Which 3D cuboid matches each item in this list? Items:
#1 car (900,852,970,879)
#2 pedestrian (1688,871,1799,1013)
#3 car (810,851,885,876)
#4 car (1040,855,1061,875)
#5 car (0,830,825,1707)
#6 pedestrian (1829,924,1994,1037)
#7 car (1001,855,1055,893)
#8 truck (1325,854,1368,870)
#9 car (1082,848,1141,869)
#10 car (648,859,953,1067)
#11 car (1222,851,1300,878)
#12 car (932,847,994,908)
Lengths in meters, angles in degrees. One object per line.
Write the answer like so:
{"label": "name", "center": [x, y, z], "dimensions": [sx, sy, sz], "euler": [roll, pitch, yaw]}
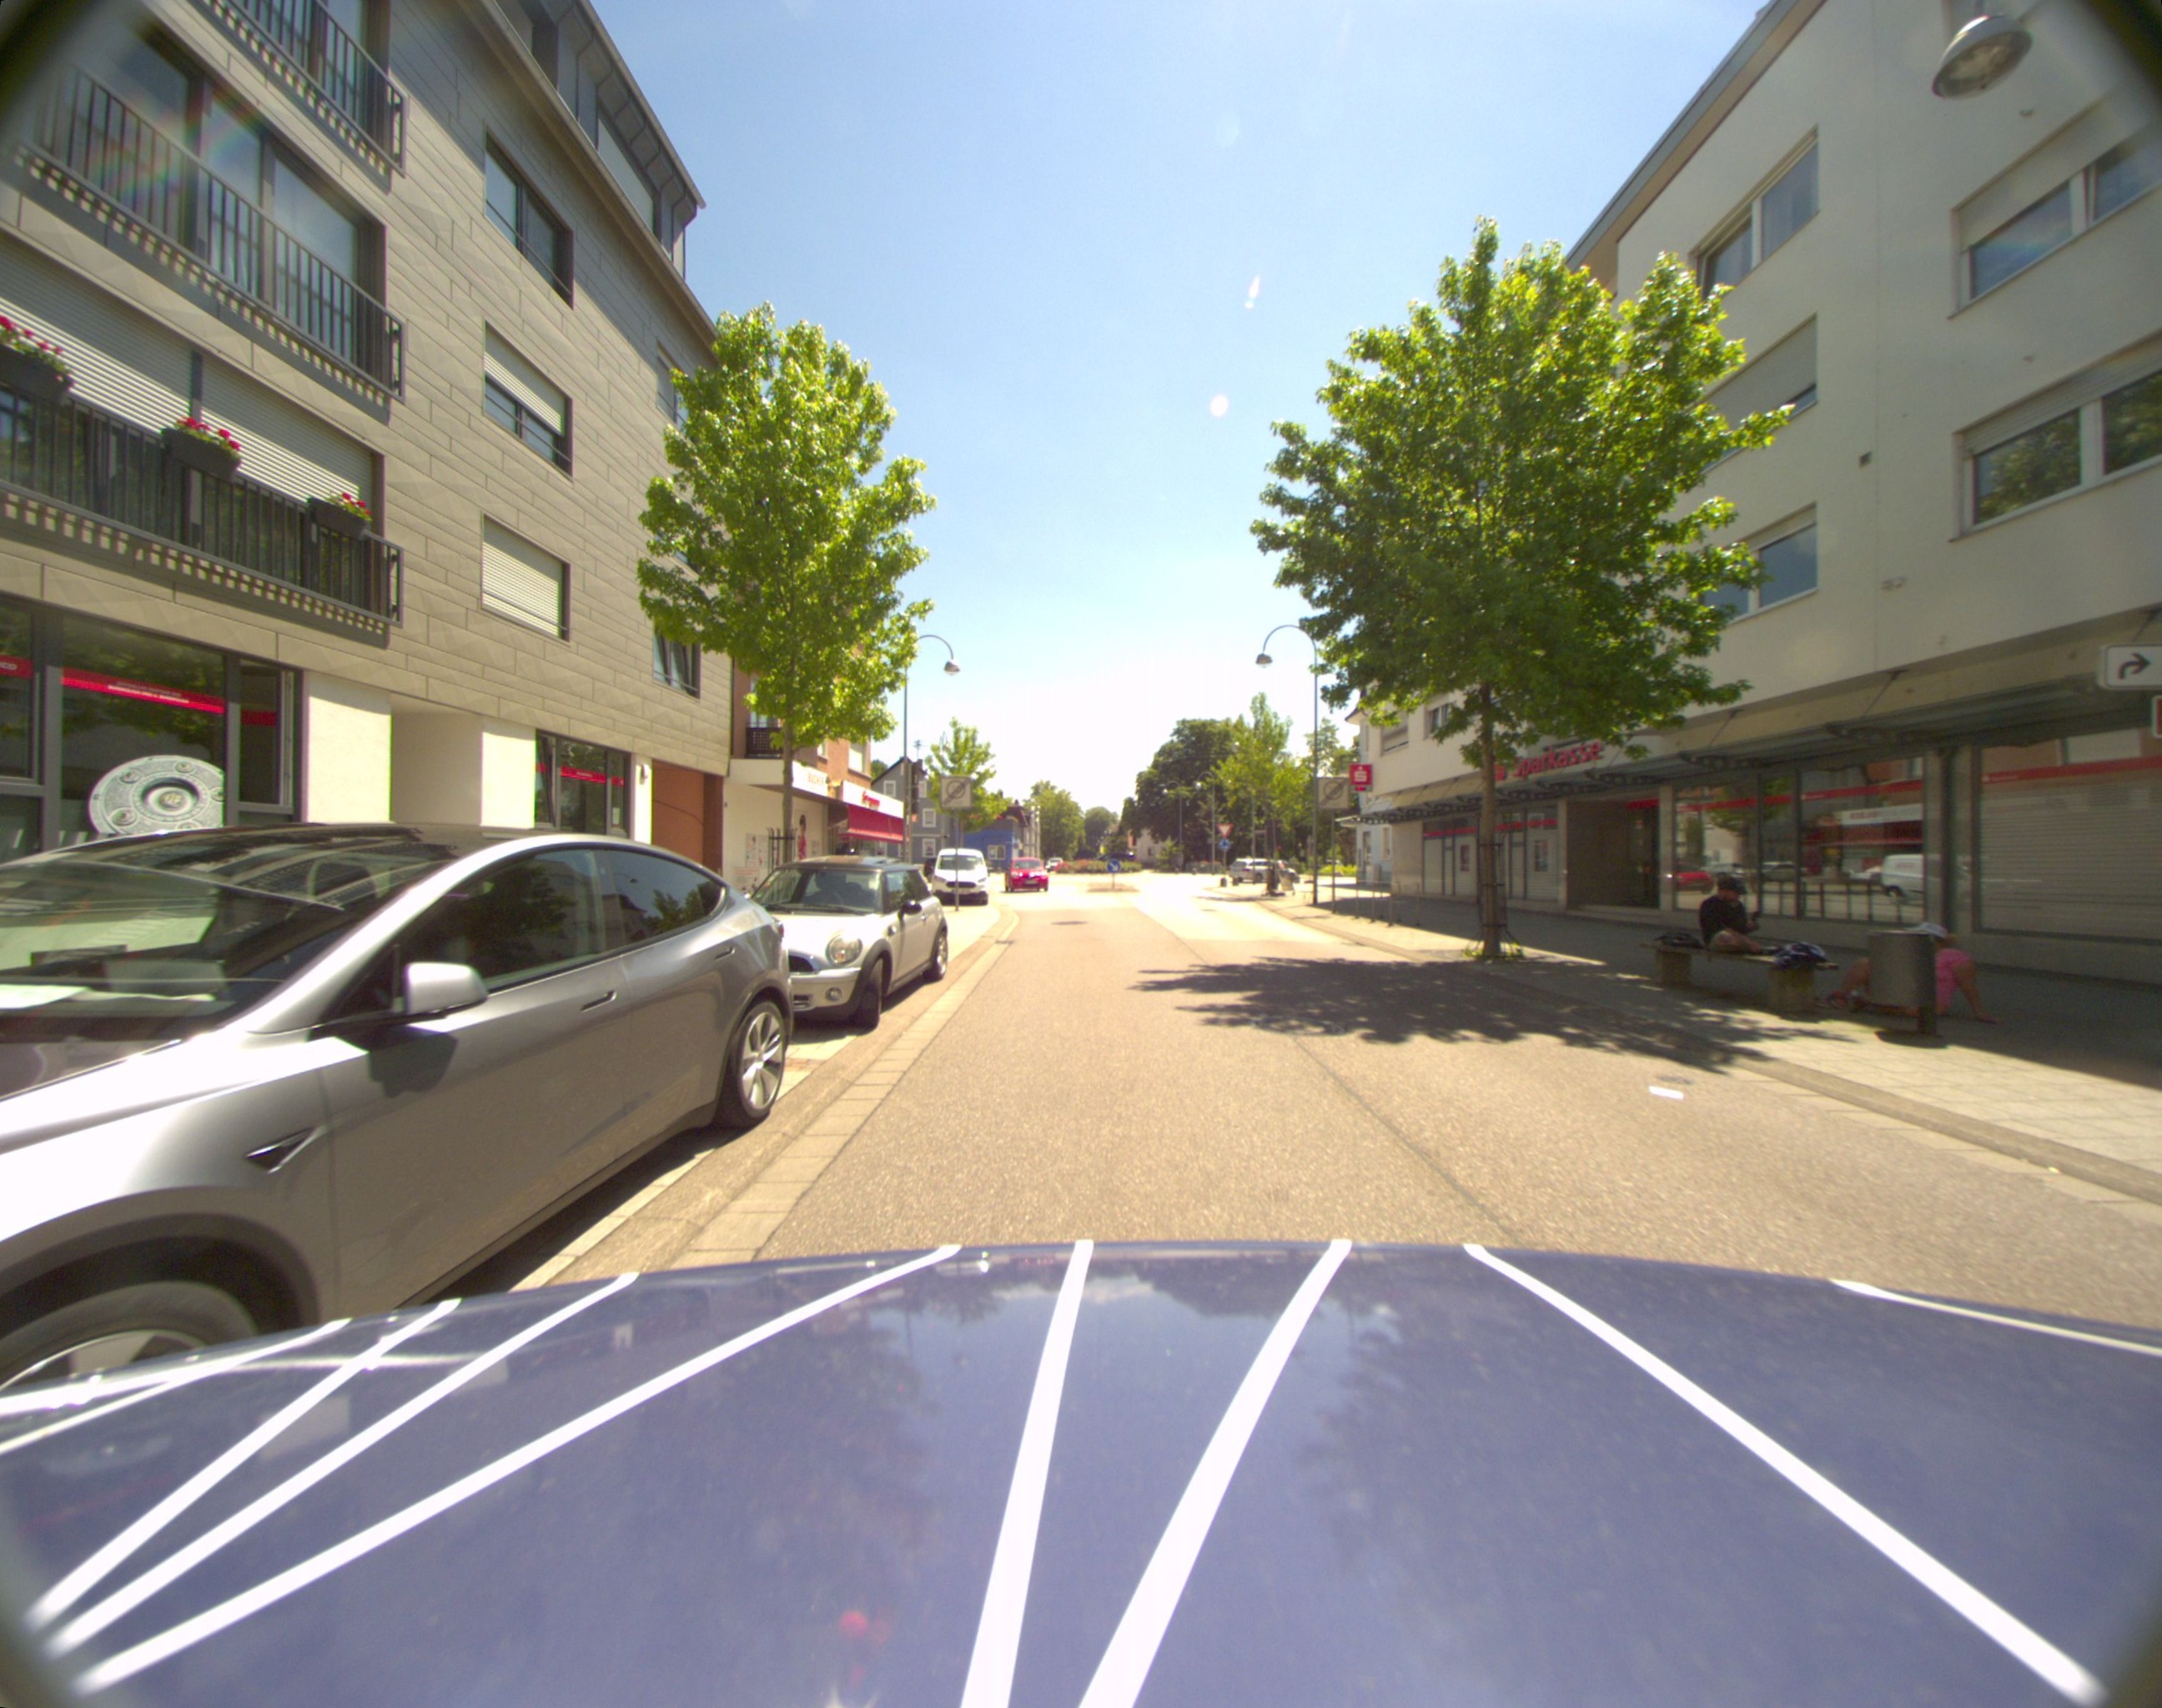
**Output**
{"label": "car", "center": [-9.263, 0.753, 48.451], "dimensions": [3.996, 1.554, 1.805], "euler": [2, -2, 2]}
{"label": "pedestrian", "center": [6.800, 0.871, 7.830], "dimensions": [0.568, 1.364, 0.667], "euler": [1, 1, 10]}
{"label": "car", "center": [-16.038, 0.657, 52.286], "dimensions": [4.523, 1.678, 2.000], "euler": [0, 1, -1]}
{"label": "car", "center": [-3.311, 1.197, 83.259], "dimensions": [1.999, 2.001, 4.002], "euler": [2, -3, 0]}
{"label": "car", "center": [-2.686, 0.797, 2.839], "dimensions": [1.768, 1.695, 4.706], "euler": [2, 0, 1]}
{"label": "pedestrian", "center": [7.571, 1.135, 6.972], "dimensions": [0.666, 0.854, 0.733], "euler": [1, 4, 9]}
{"label": "car", "center": [-2.419, 0.844, 33.958], "dimensions": [1.835, 1.524, 3.995], "euler": [-1, 0, -13]}
{"label": "truck", "center": [42.856, 1.287, 122.848], "dimensions": [6.201, 2.428, 2.270], "euler": [0, -3, 32]}
{"label": "car", "center": [2.531, 0.393, 62.873], "dimensions": [4.610, 1.575, 1.951], "euler": [1, -3, 12]}
{"label": "car", "center": [-2.476, 0.852, 7.743], "dimensions": [1.626, 1.549, 3.840], "euler": [1, 0, 0]}
{"label": "car", "center": [11.707, 0.640, 49.196], "dimensions": [5.008, 1.584, 1.994], "euler": [0, 2, -34]}
{"label": "car", "center": [-3.769, 0.699, 24.130], "dimensions": [1.753, 1.714, 3.907], "euler": [2, 0, -10]}
